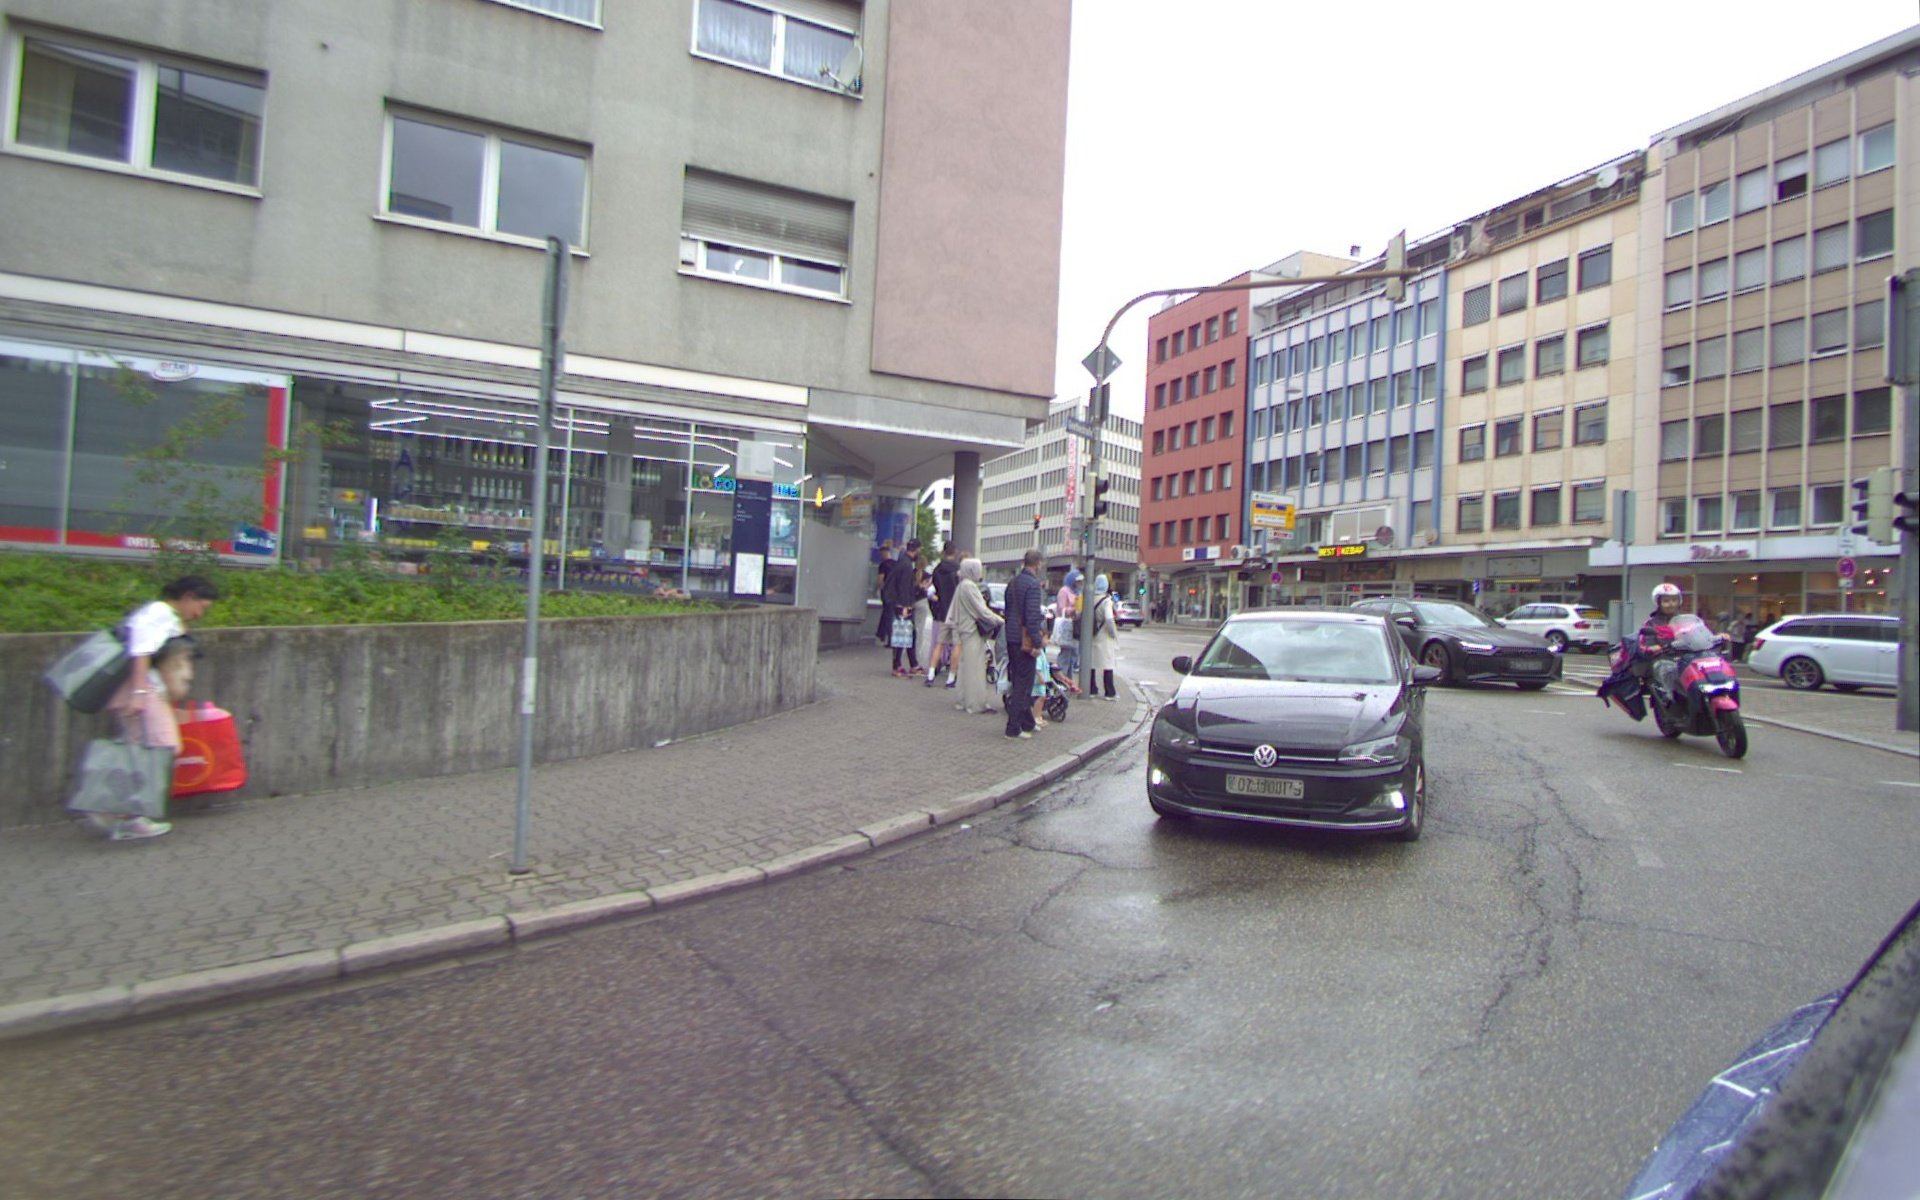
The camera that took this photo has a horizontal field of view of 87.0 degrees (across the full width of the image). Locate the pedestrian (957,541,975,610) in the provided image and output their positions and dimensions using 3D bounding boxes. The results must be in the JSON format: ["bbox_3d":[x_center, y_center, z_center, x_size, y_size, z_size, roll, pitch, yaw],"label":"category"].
[{"bbox_3d":[0.073,-0.303,12.822,0.216,0.858,0.441,0,0,-2],"label":"pedestrian"}]

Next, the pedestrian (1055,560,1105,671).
[{"bbox_3d":[1.939,0.241,16.294,0.619,1.713,0.779,4,1,13],"label":"pedestrian"}]

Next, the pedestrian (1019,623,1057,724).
[{"bbox_3d":[0.820,0.762,10.683,0.256,1.012,0.472,6,0,0],"label":"pedestrian"}]

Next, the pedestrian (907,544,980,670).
[{"bbox_3d":[-0.251,0.091,14.533,0.821,1.743,0.619,3,1,-14],"label":"pedestrian"}]

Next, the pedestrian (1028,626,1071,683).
[{"bbox_3d":[0.989,0.599,11.227,0.365,0.578,0.459,4,0,-3],"label":"pedestrian"}]

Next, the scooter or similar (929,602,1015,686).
[{"bbox_3d":[0.150,0.587,13.779,0.756,0.998,1.051,4,2,-23],"label":"scooter or similar"}]

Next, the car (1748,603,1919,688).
[{"bbox_3d":[16.924,0.793,17.733,1.760,1.434,4.640,2,-1,-23],"label":"car"}]

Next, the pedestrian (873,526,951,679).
[{"bbox_3d":[-0.650,0.029,13.489,0.803,1.955,0.733,3,0,-14],"label":"pedestrian"}]

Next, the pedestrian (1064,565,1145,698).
[{"bbox_3d":[1.909,0.401,13.452,0.529,1.657,0.840,5,2,-23],"label":"pedestrian"}]

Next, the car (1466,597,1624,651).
[{"bbox_3d":[21.374,0.831,37.223,1.816,1.850,4.973,1,0,-22],"label":"car"}]

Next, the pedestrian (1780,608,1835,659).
[{"bbox_3d":[25.609,0.997,30.602,0.655,1.503,1.067,0,-1,-24],"label":"pedestrian"}]

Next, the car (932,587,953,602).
[{"bbox_3d":[-2.134,-0.599,121.109,1.894,1.693,4.452,0,-1,-9],"label":"car"}]

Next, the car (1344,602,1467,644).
[{"bbox_3d":[18.905,0.949,43.205,1.831,1.629,4.890,1,0,-22],"label":"car"}]

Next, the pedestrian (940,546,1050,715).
[{"bbox_3d":[0.368,0.329,11.229,1.018,1.744,0.839,3,-1,-5],"label":"pedestrian"}]

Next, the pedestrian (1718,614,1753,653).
[{"bbox_3d":[25.568,1.099,33.368,0.525,1.265,0.722,0,-1,-24],"label":"pedestrian"}]

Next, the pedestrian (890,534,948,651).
[{"bbox_3d":[-0.688,-0.117,16.810,0.821,1.889,0.667,0,0,-14],"label":"pedestrian"}]

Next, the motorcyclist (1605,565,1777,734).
[{"bbox_3d":[7.402,0.477,10.311,1.074,1.625,0.952,1,-1,5],"label":"motorcyclist"}]

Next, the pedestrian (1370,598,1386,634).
[{"bbox_3d":[19.811,0.755,47.973,0.437,1.730,0.585,0,-1,-22],"label":"pedestrian"}]

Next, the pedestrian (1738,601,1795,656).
[{"bbox_3d":[25.801,0.900,32.380,0.935,1.717,1.088,0,-1,-24],"label":"pedestrian"}]

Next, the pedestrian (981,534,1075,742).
[{"bbox_3d":[0.638,0.337,9.792,0.605,1.889,0.788,5,3,-7],"label":"pedestrian"}]

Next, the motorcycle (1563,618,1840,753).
[{"bbox_3d":[7.438,0.798,10.367,1.290,1.149,2.183,1,0,4],"label":"motorcycle"}]

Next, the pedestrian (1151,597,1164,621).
[{"bbox_3d":[14.764,0.688,75.707,0.729,1.770,0.733,-1,-2,39],"label":"pedestrian"}]

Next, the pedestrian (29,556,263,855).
[{"bbox_3d":[-4.789,0.535,6.020,1.008,1.550,1.059,0,3,-38],"label":"pedestrian"}]

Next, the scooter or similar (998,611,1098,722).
[{"bbox_3d":[0.965,0.725,11.253,0.954,1.123,0.655,4,0,-3],"label":"scooter or similar"}]

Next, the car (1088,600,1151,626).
[{"bbox_3d":[9.412,0.749,60.006,1.753,1.464,4.764,1,0,-17],"label":"car"}]

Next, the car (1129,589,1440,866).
[{"bbox_3d":[2.644,0.697,7.705,1.725,1.448,3.848,-1,1,25],"label":"car"}]

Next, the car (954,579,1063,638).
[{"bbox_3d":[1.319,0.238,29.477,1.833,1.567,4.112,0,0,-18],"label":"car"}]

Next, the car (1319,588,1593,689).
[{"bbox_3d":[8.505,0.601,17.955,1.959,1.510,4.742,2,0,-9],"label":"car"}]

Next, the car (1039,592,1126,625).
[{"bbox_3d":[6.051,0.421,50.422,1.961,1.571,4.430,1,-1,-32],"label":"car"}]

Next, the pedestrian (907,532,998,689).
[{"bbox_3d":[-0.104,0.118,12.875,0.820,1.887,0.660,5,2,-18],"label":"pedestrian"}]

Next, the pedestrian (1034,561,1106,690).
[{"bbox_3d":[1.505,0.328,13.816,0.736,1.654,0.593,5,2,19],"label":"pedestrian"}]
